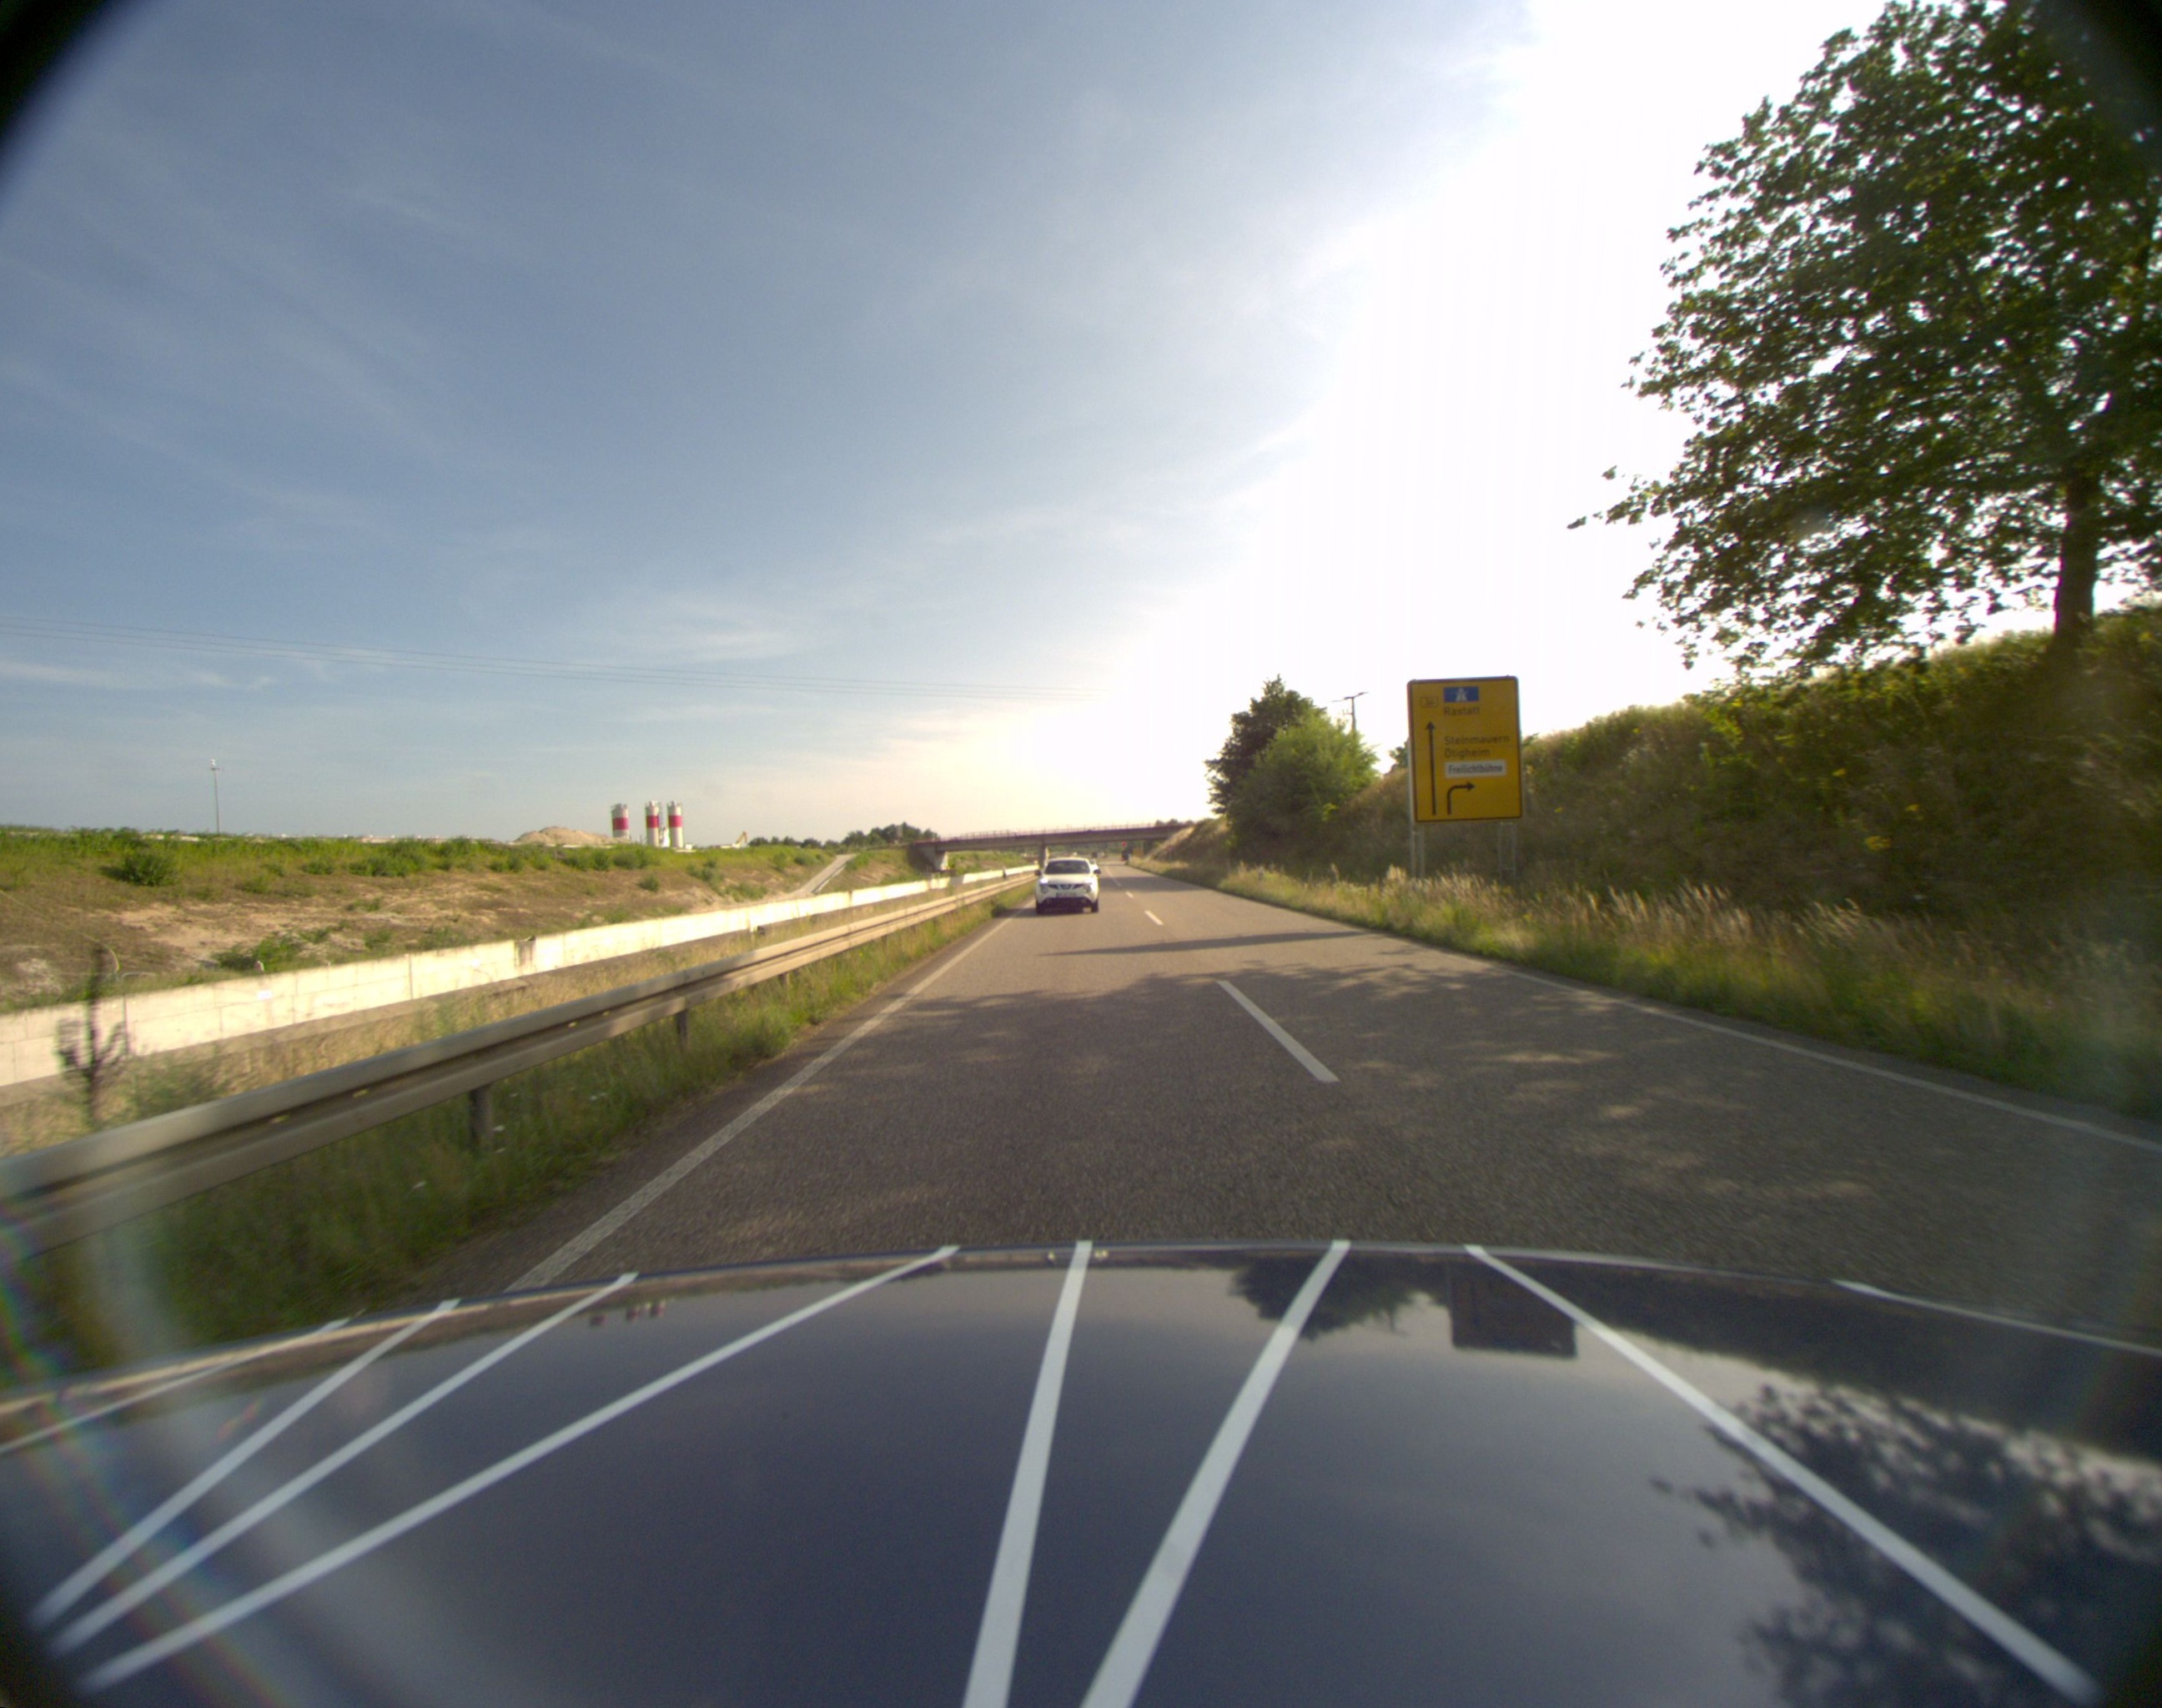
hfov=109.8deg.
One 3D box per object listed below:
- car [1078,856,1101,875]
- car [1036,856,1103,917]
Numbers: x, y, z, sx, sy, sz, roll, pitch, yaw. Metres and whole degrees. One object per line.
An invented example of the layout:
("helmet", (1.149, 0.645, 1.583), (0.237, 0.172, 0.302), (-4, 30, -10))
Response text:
("car", (0.699, 0.933, 65.344), (1.908, 1.512, 4.465), (-2, 0, 0))
("car", (-0.357, 0.887, 22.969), (1.789, 1.593, 4.571), (-1, 0, -1))
